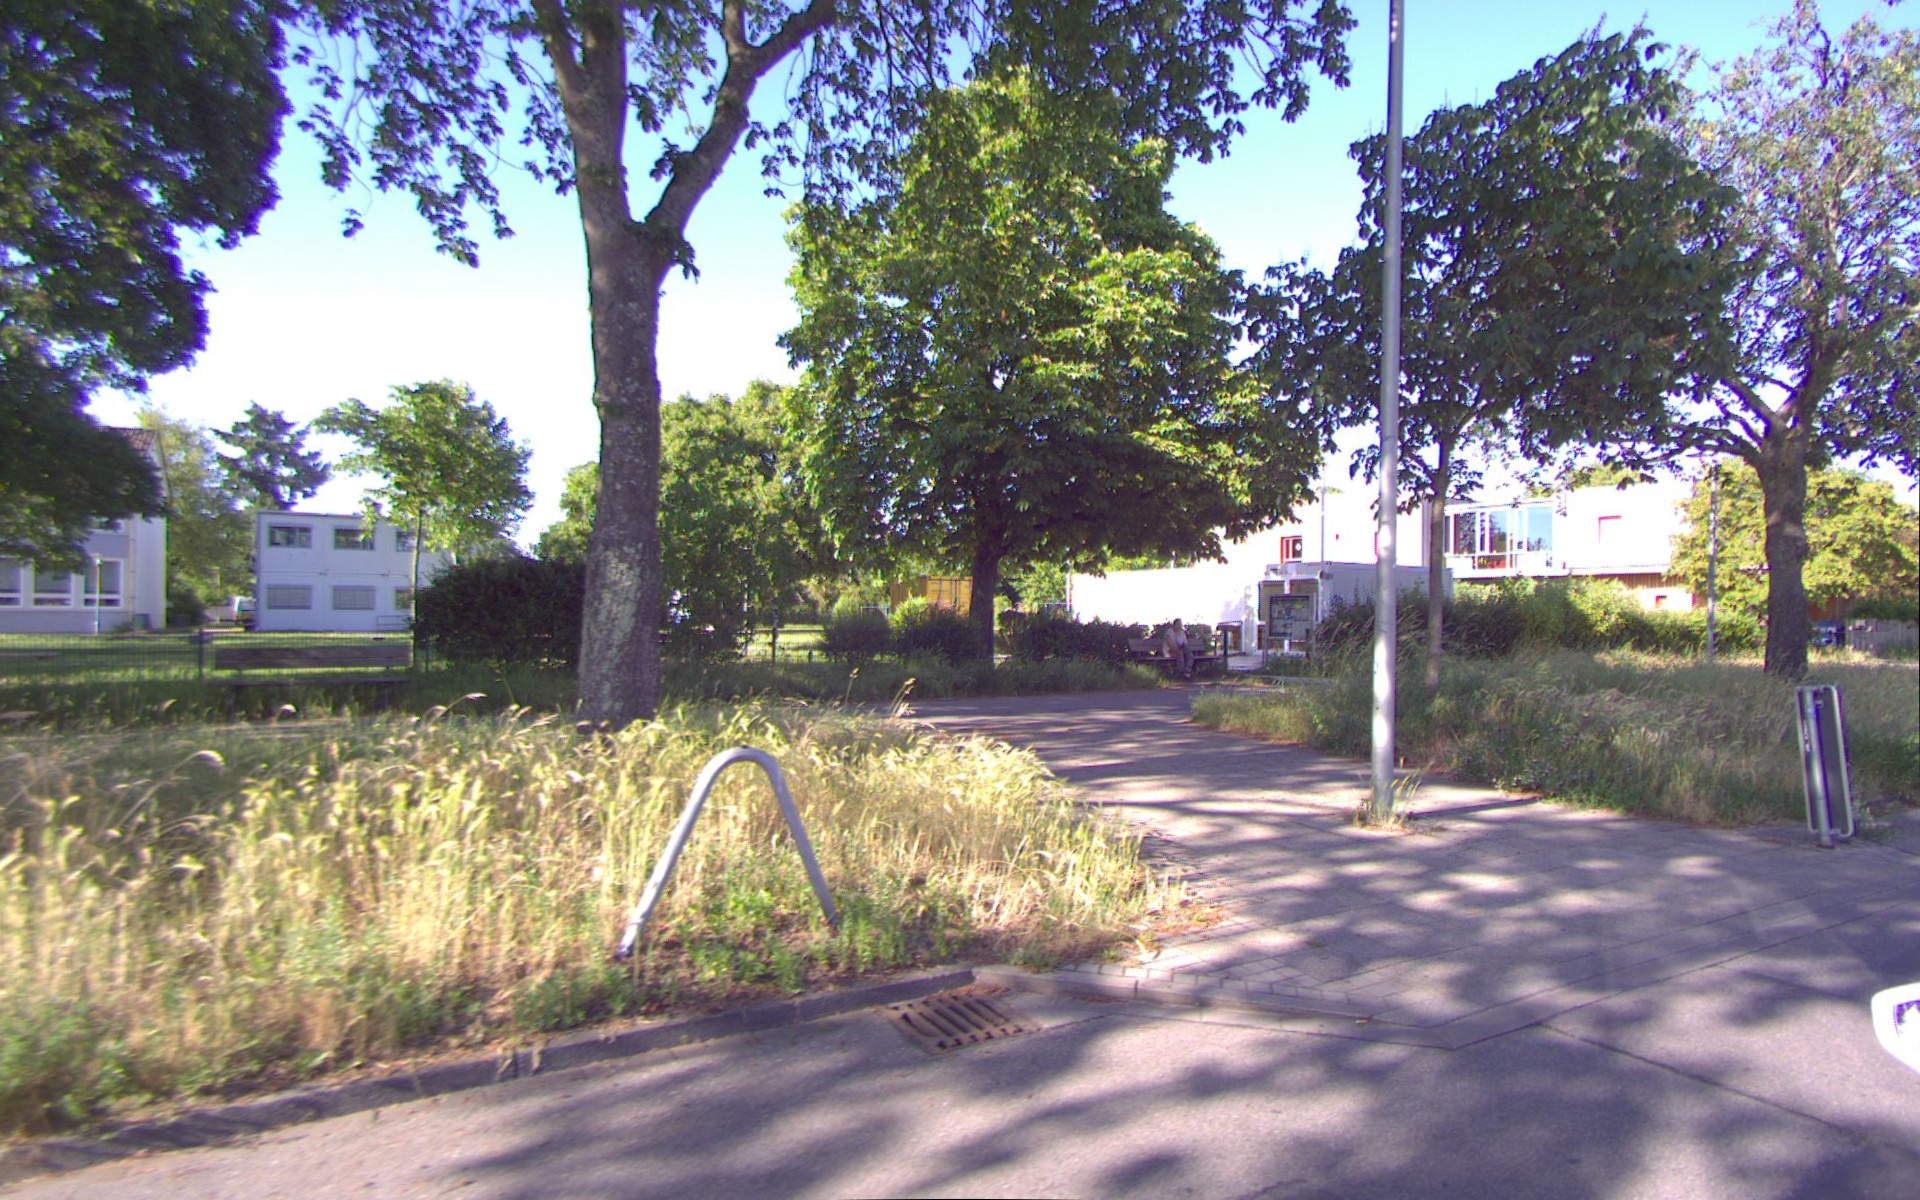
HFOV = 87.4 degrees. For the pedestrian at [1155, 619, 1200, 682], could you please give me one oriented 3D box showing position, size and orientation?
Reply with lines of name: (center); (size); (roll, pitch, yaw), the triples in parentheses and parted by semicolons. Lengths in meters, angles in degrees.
pedestrian: (4.224, 0.976, 19.518); (0.516, 1.173, 0.634); (2, 2, -30)
